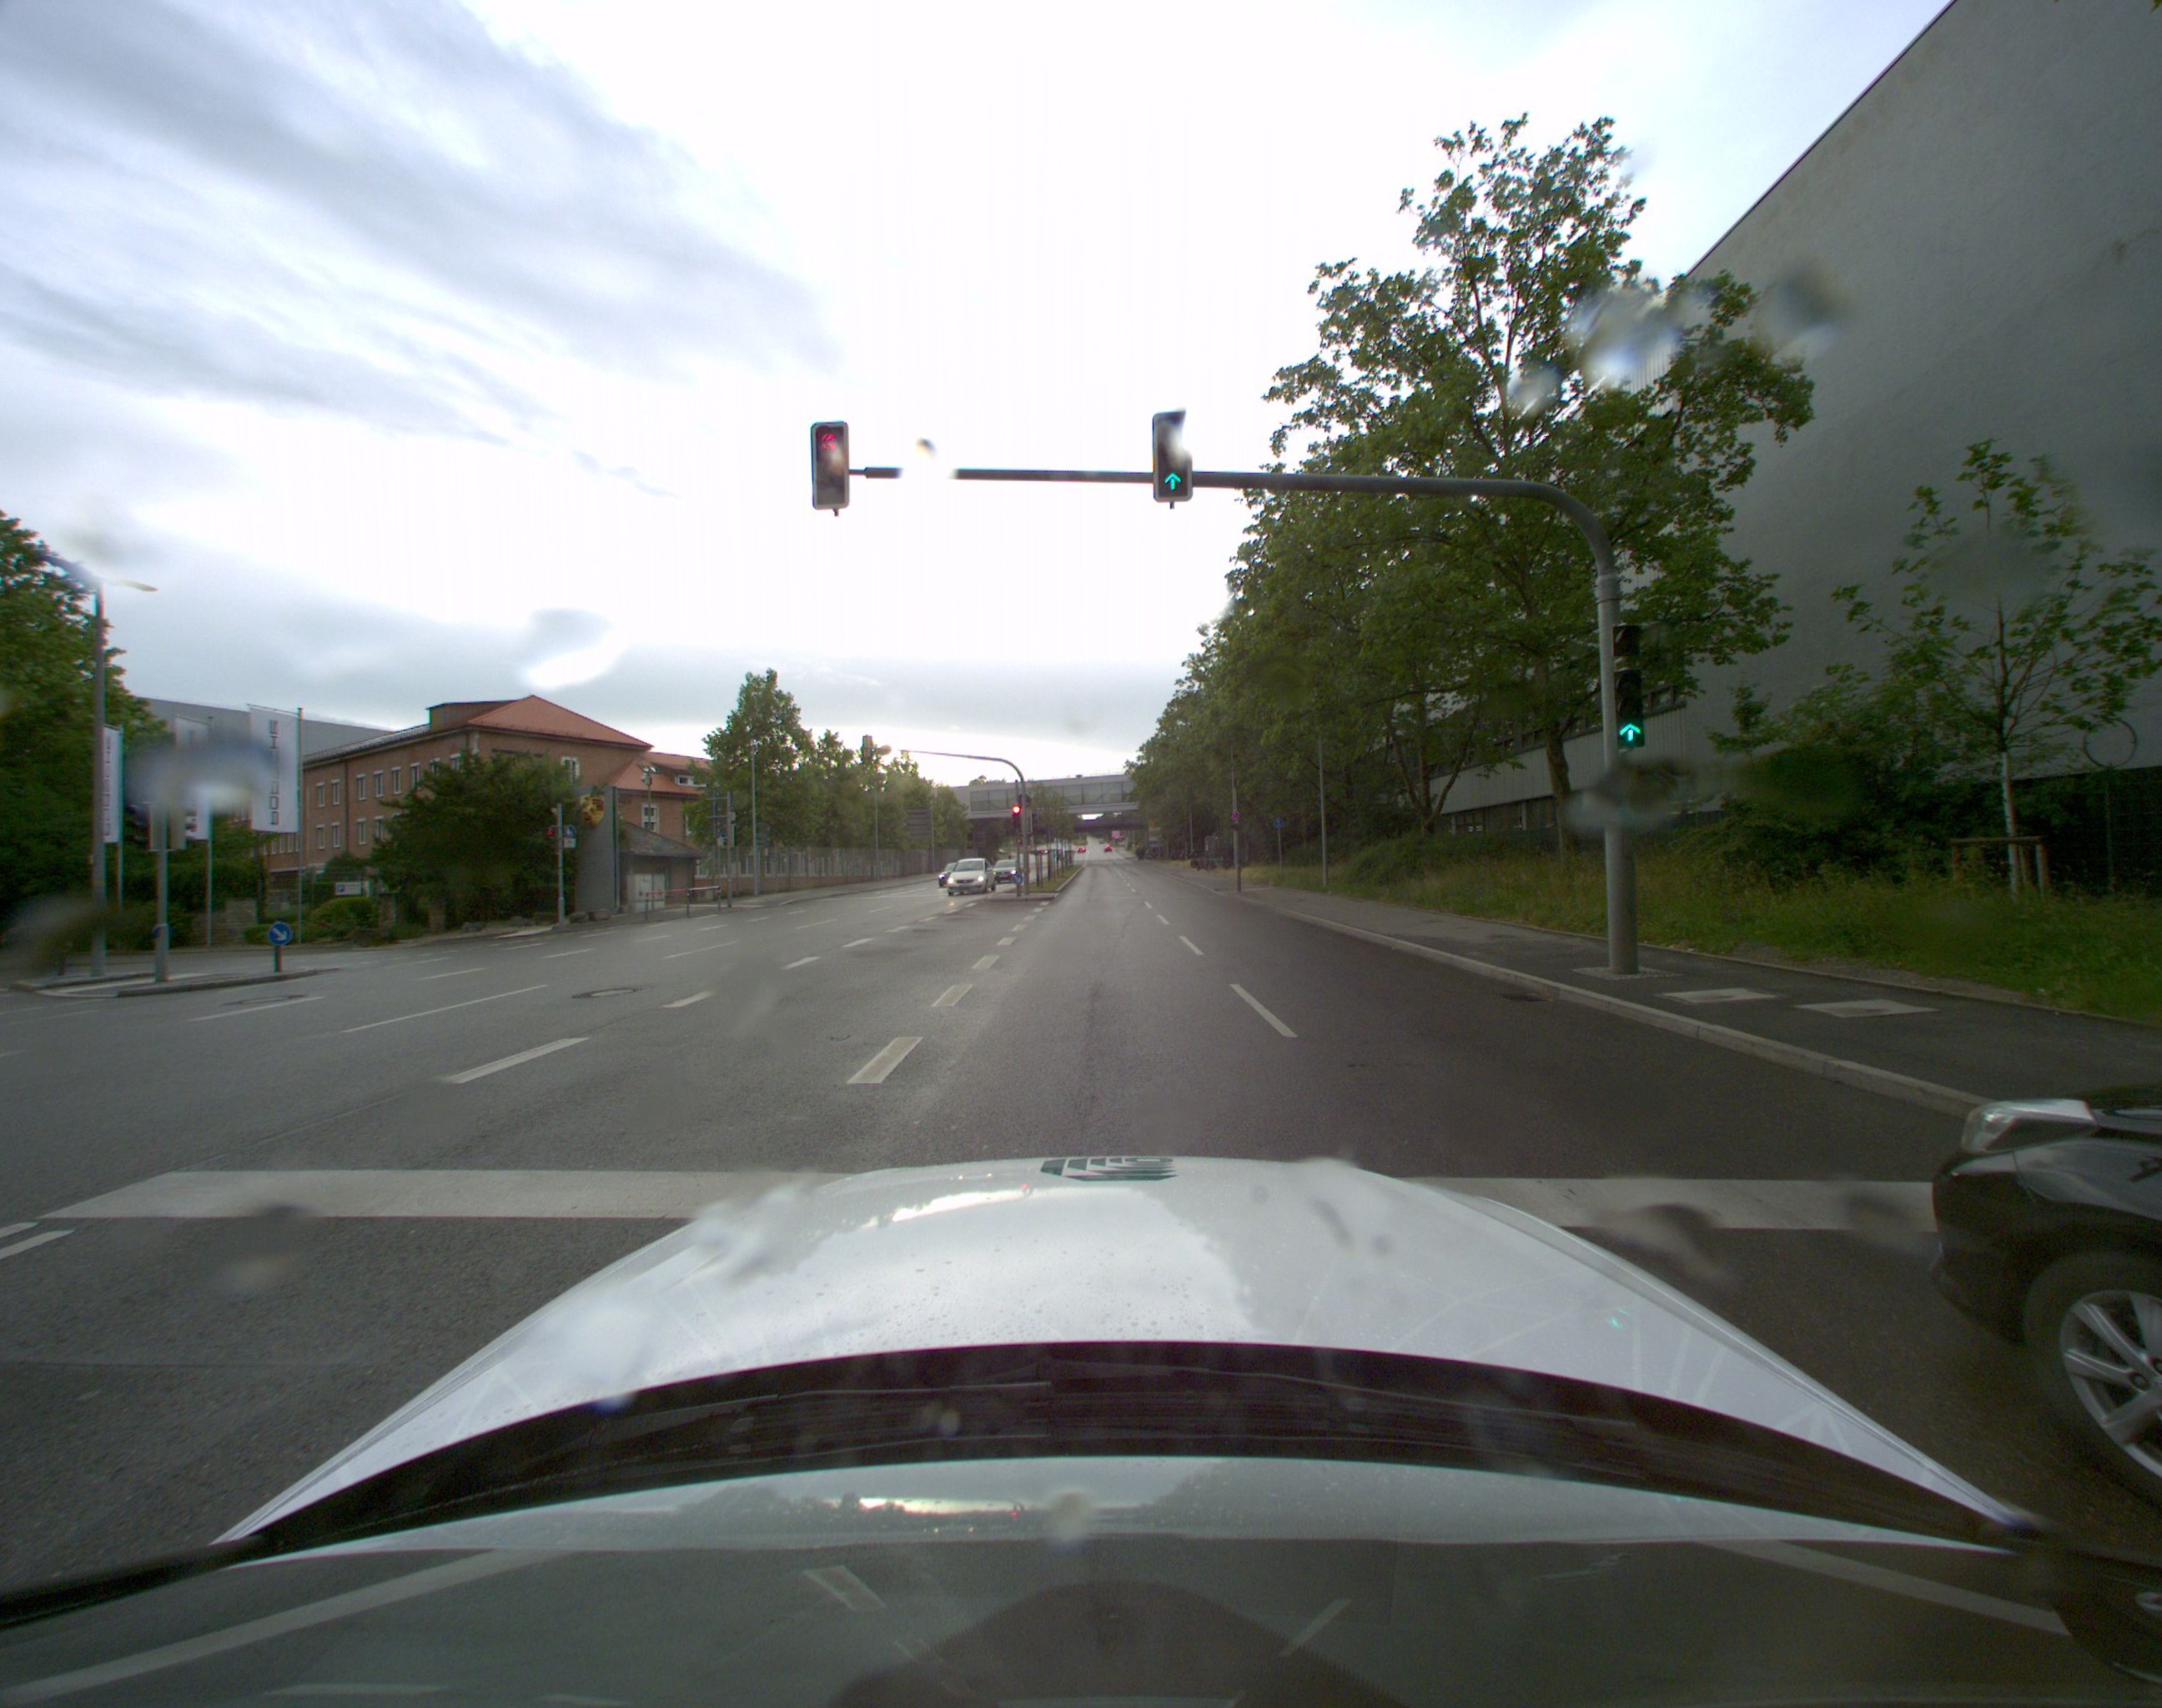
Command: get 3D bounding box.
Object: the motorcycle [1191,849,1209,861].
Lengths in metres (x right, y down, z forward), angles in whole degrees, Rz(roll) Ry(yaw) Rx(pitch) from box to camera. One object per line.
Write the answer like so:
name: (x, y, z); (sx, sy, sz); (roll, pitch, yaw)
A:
motorcycle: (15.585, 0.106, 106.587); (2.354, 1.476, 0.724); (-3, -1, 9)

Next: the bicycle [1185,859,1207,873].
bicycle: (10.622, 1.097, 75.480); (1.955, 1.328, 0.654); (0, -2, 2)

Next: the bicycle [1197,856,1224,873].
bicycle: (9.616, 0.809, 60.467); (1.982, 1.242, 0.541); (0, -2, 2)

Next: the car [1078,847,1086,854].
car: (0.170, -0.899, 211.183); (1.877, 1.762, 3.970); (0, -1, 2)

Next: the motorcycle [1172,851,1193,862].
motorcycle: (11.982, 0.253, 96.406); (2.354, 1.202, 0.724); (-3, -1, 9)

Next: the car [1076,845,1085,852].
car: (-0.097, -1.368, 206.666); (1.986, 1.762, 4.001); (0, -1, 2)

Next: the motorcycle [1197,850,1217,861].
motorcycle: (15.240, 0.159, 98.465); (2.354, 1.202, 0.724); (-3, -1, 9)

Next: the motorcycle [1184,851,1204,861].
motorcycle: (13.915, 0.256, 99.854); (2.354, 1.202, 0.724); (-3, -1, 9)

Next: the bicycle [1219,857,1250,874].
bicycle: (10.083, 0.735, 53.465); (1.982, 1.095, 0.541); (0, -2, 2)

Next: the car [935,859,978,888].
car: (-7.673, 1.170, 50.449); (1.870, 1.624, 3.780); (-2, 0, 2)

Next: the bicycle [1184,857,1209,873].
bicycle: (9.297, 0.884, 65.515); (1.982, 1.328, 0.576); (0, -2, 2)

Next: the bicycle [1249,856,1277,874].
bicycle: (13.724, 0.828, 61.466); (1.982, 1.328, 0.576); (0, -2, 2)

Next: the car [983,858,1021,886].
car: (-4.942, 1.080, 51.449); (1.870, 1.624, 3.780); (-2, 0, 2)

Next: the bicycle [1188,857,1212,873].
bicycle: (9.950, 0.931, 68.032); (1.982, 1.328, 0.576); (0, -2, 2)

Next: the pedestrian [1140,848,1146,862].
pedestrian: (8.714, 0.145, 114.587); (0.619, 2.013, 0.606); (-3, -1, 2)

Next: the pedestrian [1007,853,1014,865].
pedestrian: (-12.021, 0.835, 138.952); (0.877, 2.005, 0.846); (2, -3, -30)

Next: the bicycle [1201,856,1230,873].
bicycle: (9.642, 0.763, 58.320); (1.982, 1.242, 0.541); (0, -2, 2)

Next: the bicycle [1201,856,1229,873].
bicycle: (9.669, 0.776, 58.909); (1.982, 1.242, 0.541); (0, -2, 2)

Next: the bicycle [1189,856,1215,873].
bicycle: (9.593, 0.869, 64.699); (1.982, 1.328, 0.576); (0, -2, 2)

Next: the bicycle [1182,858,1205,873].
bicycle: (9.764, 0.987, 70.676); (1.955, 1.328, 0.654); (0, -2, 2)

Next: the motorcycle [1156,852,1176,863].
motorcycle: (10.614, 0.457, 101.179); (2.354, 1.202, 0.724); (-3, -1, 9)

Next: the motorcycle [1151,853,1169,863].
motorcycle: (10.439, 0.497, 107.503); (2.354, 1.202, 0.795); (-3, -1, 9)

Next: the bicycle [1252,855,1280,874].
bicycle: (13.485, 0.781, 59.379); (1.982, 1.328, 0.576); (0, -2, 2)

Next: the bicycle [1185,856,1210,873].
bicycle: (9.622, 0.860, 67.186); (1.982, 1.430, 0.723); (0, -2, 2)

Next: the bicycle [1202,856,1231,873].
bicycle: (9.608, 0.754, 57.724); (1.982, 1.233, 0.541); (0, -2, 2)

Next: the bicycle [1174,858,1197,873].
bicycle: (9.397, 1.039, 73.201); (1.955, 1.328, 0.654); (0, -2, 2)

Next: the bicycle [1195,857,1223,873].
bicycle: (9.643, 0.830, 61.416); (1.982, 1.242, 0.541); (0, -2, 2)

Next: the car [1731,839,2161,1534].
car: (3.330, 0.708, 0.876); (1.871, 1.494, 4.073); (-3, 0, -2)

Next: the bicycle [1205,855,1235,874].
bicycle: (9.470, 0.714, 55.510); (1.982, 1.216, 0.541); (0, -2, 2)

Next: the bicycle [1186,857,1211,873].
bicycle: (9.587, 0.907, 66.452); (1.982, 1.328, 0.576); (0, -2, 2)

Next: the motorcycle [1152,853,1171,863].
motorcycle: (10.415, 0.499, 105.627); (2.354, 1.202, 0.724); (-3, -1, 9)

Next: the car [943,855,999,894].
car: (-5.028, 0.910, 37.635); (1.870, 1.624, 3.780); (-2, 0, 2)

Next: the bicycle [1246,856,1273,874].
bicycle: (13.781, 0.857, 62.778); (1.982, 1.328, 0.576); (0, -2, 2)

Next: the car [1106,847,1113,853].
car: (7.131, -0.971, 202.720); (1.868, 1.497, 4.070); (0, -1, 2)

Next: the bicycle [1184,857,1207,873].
bicycle: (9.827, 0.973, 69.984); (1.953, 1.328, 0.576); (0, -2, 2)

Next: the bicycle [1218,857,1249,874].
bicycle: (10.102, 0.747, 54.033); (1.982, 1.095, 0.541); (0, -2, 2)

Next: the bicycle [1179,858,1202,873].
bicycle: (9.697, 1.021, 72.280); (1.955, 1.328, 0.654); (0, -2, 2)

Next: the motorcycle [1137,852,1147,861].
motorcycle: (9.366, 0.385, 125.084); (0.792, 1.311, 2.363); (-3, -1, -16)

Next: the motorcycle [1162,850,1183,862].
motorcycle: (10.632, 0.252, 94.385); (2.354, 1.202, 0.724); (-3, -1, 9)

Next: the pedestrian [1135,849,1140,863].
pedestrian: (7.962, 0.250, 114.617); (0.619, 2.013, 0.606); (-3, -1, 2)

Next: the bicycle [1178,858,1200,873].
bicycle: (9.789, 1.059, 73.997); (1.955, 1.328, 0.654); (0, -2, 2)

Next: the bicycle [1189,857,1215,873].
bicycle: (9.293, 0.854, 62.634); (1.982, 1.242, 0.541); (0, -2, 2)

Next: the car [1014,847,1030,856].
car: (-14.864, -0.602, 203.981); (2.011, 2.014, 3.952); (2, -2, -42)

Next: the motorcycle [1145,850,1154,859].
motorcycle: (10.233, 0.125, 121.867); (0.789, 1.311, 2.371); (-3, 0, -7)

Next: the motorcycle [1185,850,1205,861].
motorcycle: (14.077, 0.179, 100.777); (2.354, 1.202, 0.724); (-3, -1, 9)

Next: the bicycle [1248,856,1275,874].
bicycle: (13.746, 0.843, 62.131); (1.982, 1.328, 0.576); (0, -2, 2)
